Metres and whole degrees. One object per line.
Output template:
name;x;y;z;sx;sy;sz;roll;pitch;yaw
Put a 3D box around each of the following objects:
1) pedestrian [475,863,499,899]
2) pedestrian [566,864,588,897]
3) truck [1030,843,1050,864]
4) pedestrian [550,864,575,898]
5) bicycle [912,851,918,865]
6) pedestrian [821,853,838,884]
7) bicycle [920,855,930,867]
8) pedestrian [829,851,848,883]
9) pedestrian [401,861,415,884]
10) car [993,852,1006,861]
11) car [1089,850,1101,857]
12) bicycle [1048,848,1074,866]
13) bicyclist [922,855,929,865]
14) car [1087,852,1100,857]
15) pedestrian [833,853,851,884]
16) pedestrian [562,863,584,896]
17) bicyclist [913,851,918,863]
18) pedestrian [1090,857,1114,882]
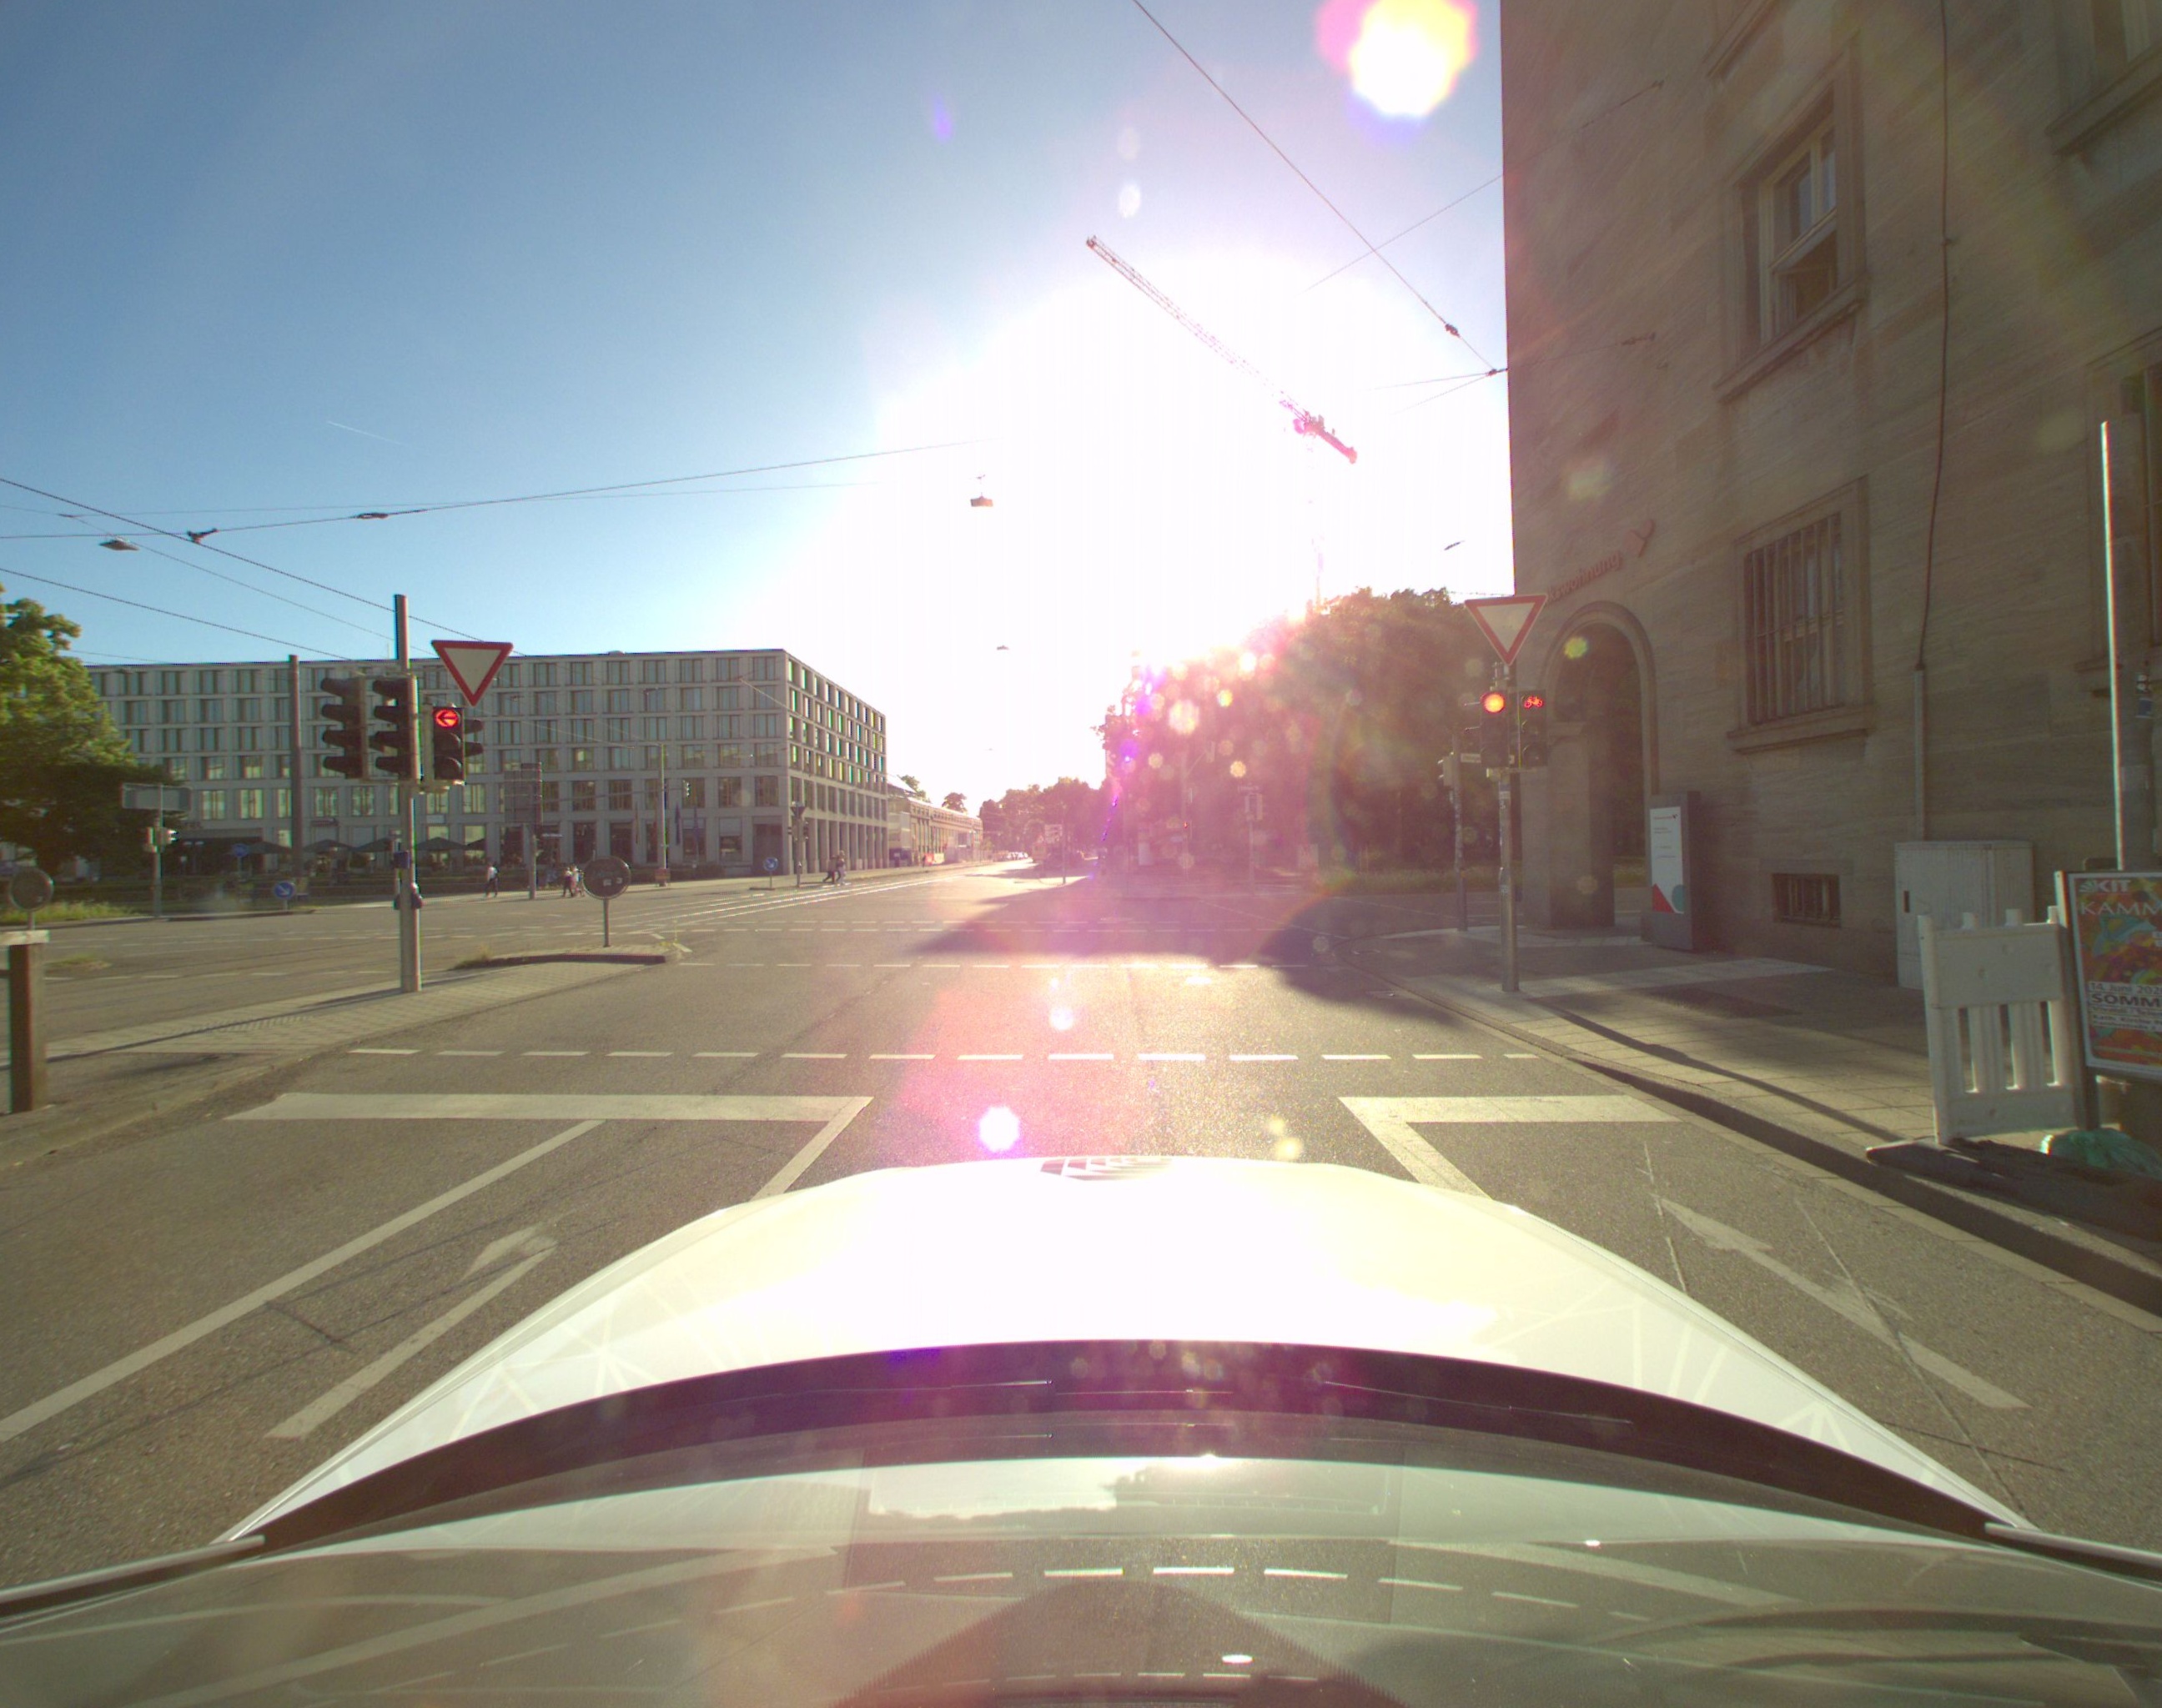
pedestrian;-32.247;1.483;44.227;0.797;1.918;0.638;-2;0;7
pedestrian;-27.971;1.462;45.177;0.865;1.803;0.533;-2;0;7
truck;-6.097;-0.067;122.927;2.708;3.016;6.486;-1;0;-1
pedestrian;-28.245;1.483;44.344;0.865;1.803;0.665;-2;0;7
bicycle;-26.694;0.632;131.097;0.569;2.296;1.422;-2;0;0
pedestrian;-13.760;0.795;44.572;0.691;1.644;0.622;-2;0;2
bicycle;-20.915;0.926;109.228;0.687;1.511;2.945;0;-1;2
pedestrian;-13.466;0.709;45.162;0.744;1.761;0.679;-2;-1;6
pedestrian;-50.320;1.379;60.875;0.538;1.669;0.561;0;-1;-2
car;-15.653;0.495;156.981;1.888;1.607;4.499;-2;0;0
car;3.662;-0.119;213.645;3.207;1.588;1.445;0;-1;-3
bicycle;-1.954;0.287;81.558;2.538;1.744;1.038;0;-1;1
bicyclist;-20.865;0.835;109.298;0.687;1.328;1.000;0;-1;2
car;3.283;0.033;211.362;3.207;1.263;1.373;0;-1;0
pedestrian;-12.824;0.781;43.709;0.790;1.644;0.621;-2;0;-3
pedestrian;-28.490;1.423;45.665;0.735;1.803;0.717;-2;0;7
bicyclist;-26.694;0.498;131.109;0.569;2.024;0.762;-2;0;0
pedestrian;1.133;0.824;43.951;0.771;1.317;0.985;-1;0;-42
